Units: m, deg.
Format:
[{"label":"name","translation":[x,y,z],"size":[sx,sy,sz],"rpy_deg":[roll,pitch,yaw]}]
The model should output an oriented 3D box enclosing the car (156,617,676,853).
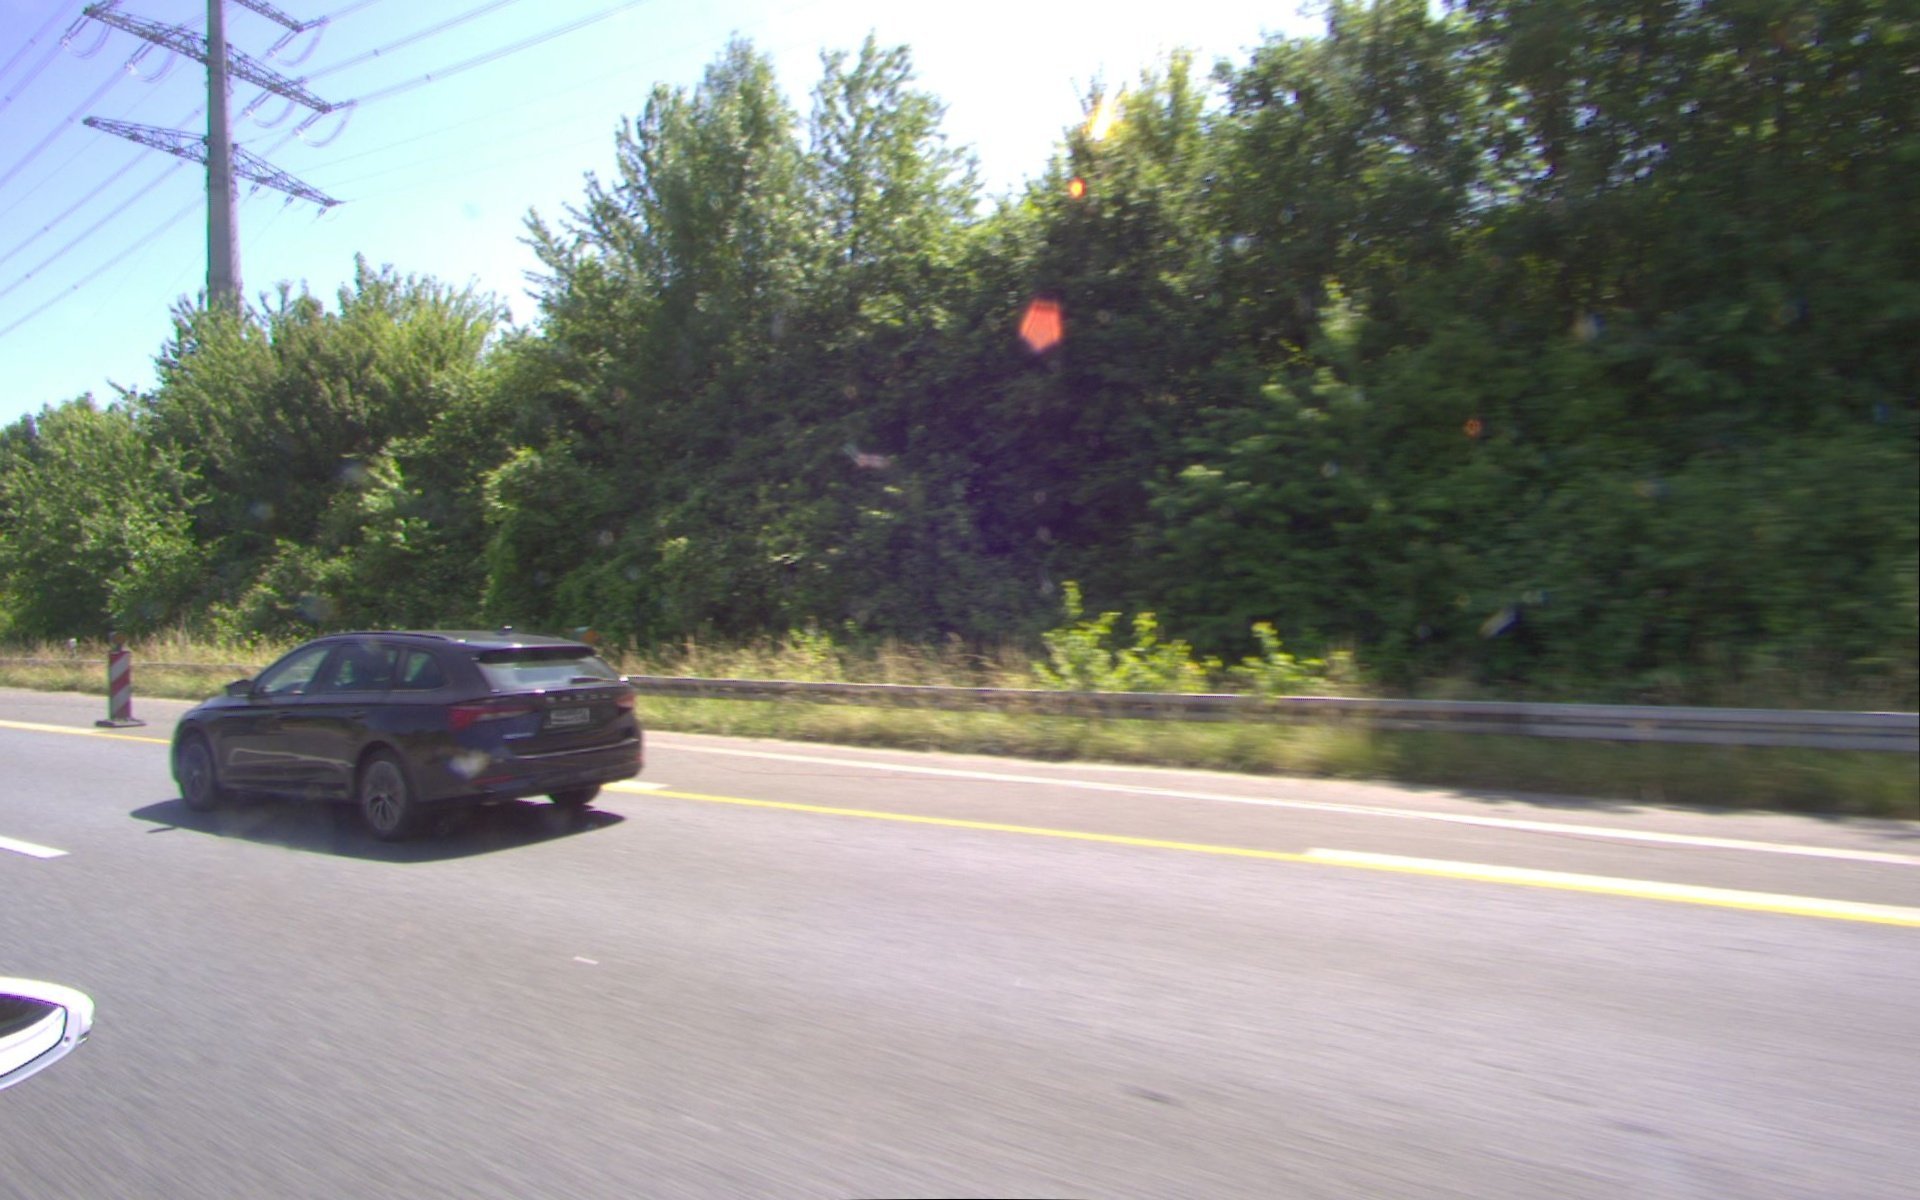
[{"label":"car","translation":[-4.605,0.936,8.320],"size":[4.398,1.508,1.777],"rpy_deg":[-1,-2,30]}]
